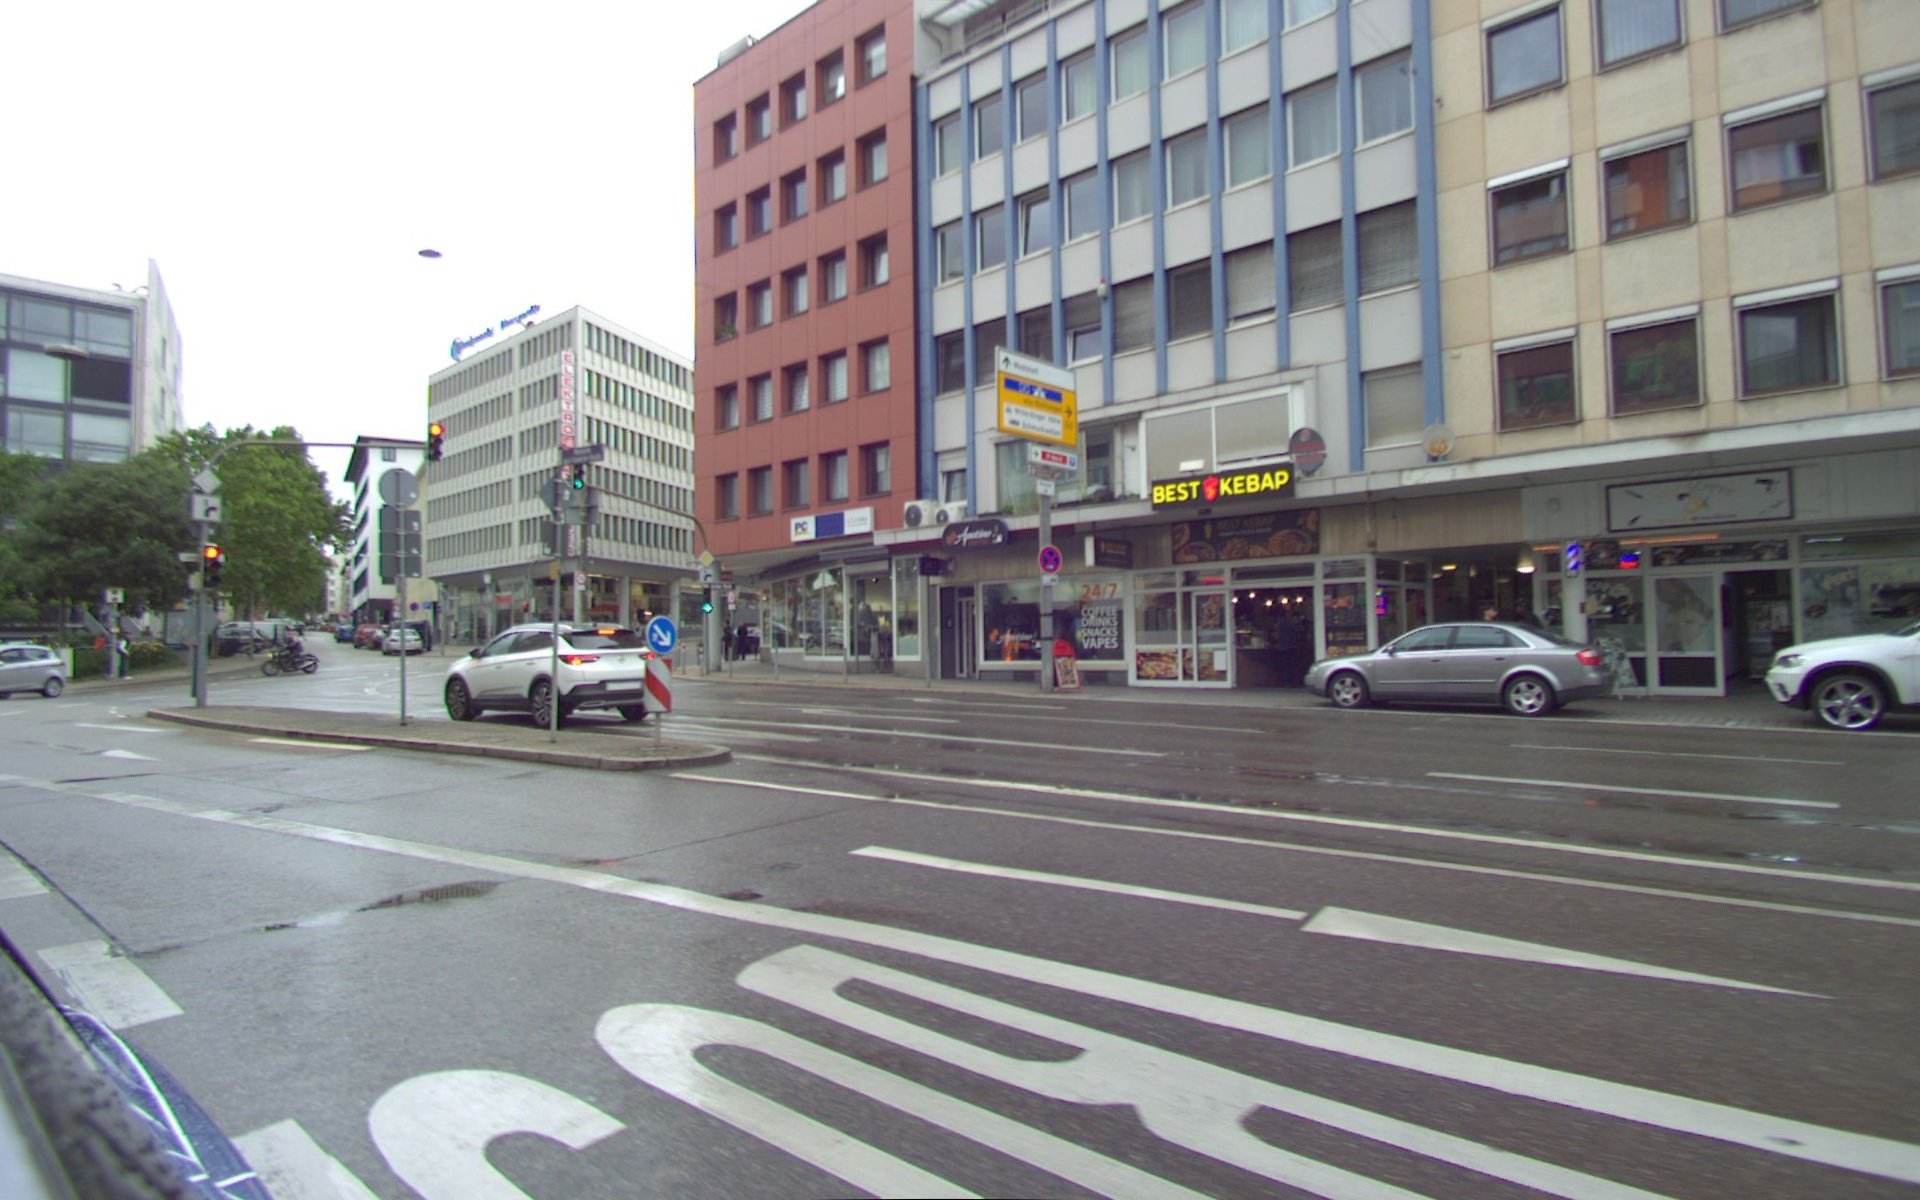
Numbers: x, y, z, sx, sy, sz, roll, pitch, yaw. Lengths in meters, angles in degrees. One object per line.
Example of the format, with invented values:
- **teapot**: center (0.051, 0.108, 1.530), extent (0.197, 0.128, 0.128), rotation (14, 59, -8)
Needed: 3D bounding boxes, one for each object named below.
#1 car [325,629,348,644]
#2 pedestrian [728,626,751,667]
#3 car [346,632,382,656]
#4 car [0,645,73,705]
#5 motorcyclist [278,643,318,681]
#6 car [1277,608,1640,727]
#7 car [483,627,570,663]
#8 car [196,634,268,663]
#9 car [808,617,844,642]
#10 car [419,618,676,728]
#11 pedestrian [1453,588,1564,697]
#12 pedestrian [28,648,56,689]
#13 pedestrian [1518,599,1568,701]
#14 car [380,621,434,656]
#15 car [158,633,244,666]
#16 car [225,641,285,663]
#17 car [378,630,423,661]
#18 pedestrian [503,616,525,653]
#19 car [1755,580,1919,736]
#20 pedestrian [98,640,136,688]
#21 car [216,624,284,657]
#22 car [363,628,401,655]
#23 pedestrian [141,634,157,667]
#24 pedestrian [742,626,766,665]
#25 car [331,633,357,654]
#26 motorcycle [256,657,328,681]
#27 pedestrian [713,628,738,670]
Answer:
- **car**: center (-74.493, 4.383, 120.940), extent (1.994, 1.661, 4.438), rotation (-2, -1, -35)
- **pedestrian**: center (-9.779, 2.077, 44.853), extent (0.726, 1.761, 0.697), rotation (-3, -1, 12)
- **car**: center (-45.114, 3.358, 76.576), extent (1.902, 1.684, 4.456), rotation (-2, -1, -35)
- **car**: center (-27.585, 2.163, 28.310), extent (1.972, 1.596, 4.104), rotation (-3, -1, -1)
- **motorcyclist**: center (-26.630, 2.480, 40.715), extent (0.908, 1.453, 1.102), rotation (-2, -2, 31)
- **car**: center (7.820, 1.015, 16.230), extent (4.879, 1.620, 1.845), rotation (-3, -2, 42)
- **car**: center (-22.577, 2.345, 52.862), extent (1.986, 1.696, 3.972), rotation (-2, -1, 21)
- **car**: center (-44.842, 2.975, 62.415), extent (3.487, 1.571, 1.745), rotation (-2, 0, -32)
- **car**: center (-9.304, 2.041, 70.764), extent (1.971, 1.563, 4.379), rotation (-3, -1, -1)
- **car**: center (-7.015, 1.196, 17.029), extent (4.420, 1.563, 1.976), rotation (-4, -1, 37)
- **pedestrian**: center (9.249, 0.714, 17.079), extent (1.417, 1.731, 0.942), rotation (-4, -2, 40)
- **pedestrian**: center (-41.648, 3.106, 45.925), extent (0.591, 1.827, 0.780), rotation (-5, -2, 32)
- **pedestrian**: center (10.047, 0.860, 17.432), extent (0.584, 1.721, 0.441), rotation (-4, -2, 42)
- **car**: center (-35.361, 2.481, 64.644), extent (2.065, 2.107, 4.621), rotation (-2, -2, -41)
- **car**: center (-41.193, 2.662, 55.032), extent (3.486, 1.571, 1.745), rotation (-2, 0, -29)
- **car**: center (-45.877, 3.385, 65.953), extent (2.996, 1.192, 2.058), rotation (-2, 0, -29)
- **car**: center (-32.879, 2.679, 59.420), extent (1.969, 1.643, 4.627), rotation (-2, -1, -33)
- **pedestrian**: center (-25.130, 1.936, 57.034), extent (0.978, 2.029, 0.950), rotation (0, -2, -34)
- **car**: center (12.652, 0.646, 11.961), extent (4.962, 1.841, 1.829), rotation (-3, -2, 42)
- **pedestrian**: center (-32.920, 2.509, 39.521), extent (0.786, 1.762, 0.775), rotation (-5, 2, 32)
- **car**: center (-53.814, 3.071, 76.806), extent (3.770, 2.282, 1.991), rotation (-2, 0, -18)
- **car**: center (-40.889, 2.942, 71.552), extent (1.993, 1.763, 4.626), rotation (-2, -1, -33)
- **pedestrian**: center (-46.144, 2.869, 57.583), extent (0.583, 1.827, 0.706), rotation (-3, -2, -32)
- **pedestrian**: center (-8.999, 1.978, 44.234), extent (0.688, 1.642, 0.730), rotation (-3, -1, 14)
- **car**: center (-60.355, 4.261, 99.166), extent (1.993, 1.855, 4.055), rotation (-2, -1, -34)
- **motorcycle**: center (-26.749, 2.768, 40.568), extent (0.710, 0.848, 2.370), rotation (-2, -2, 31)
- **pedestrian**: center (-10.132, 2.109, 43.746), extent (0.726, 1.761, 0.740), rotation (-3, -1, 12)
